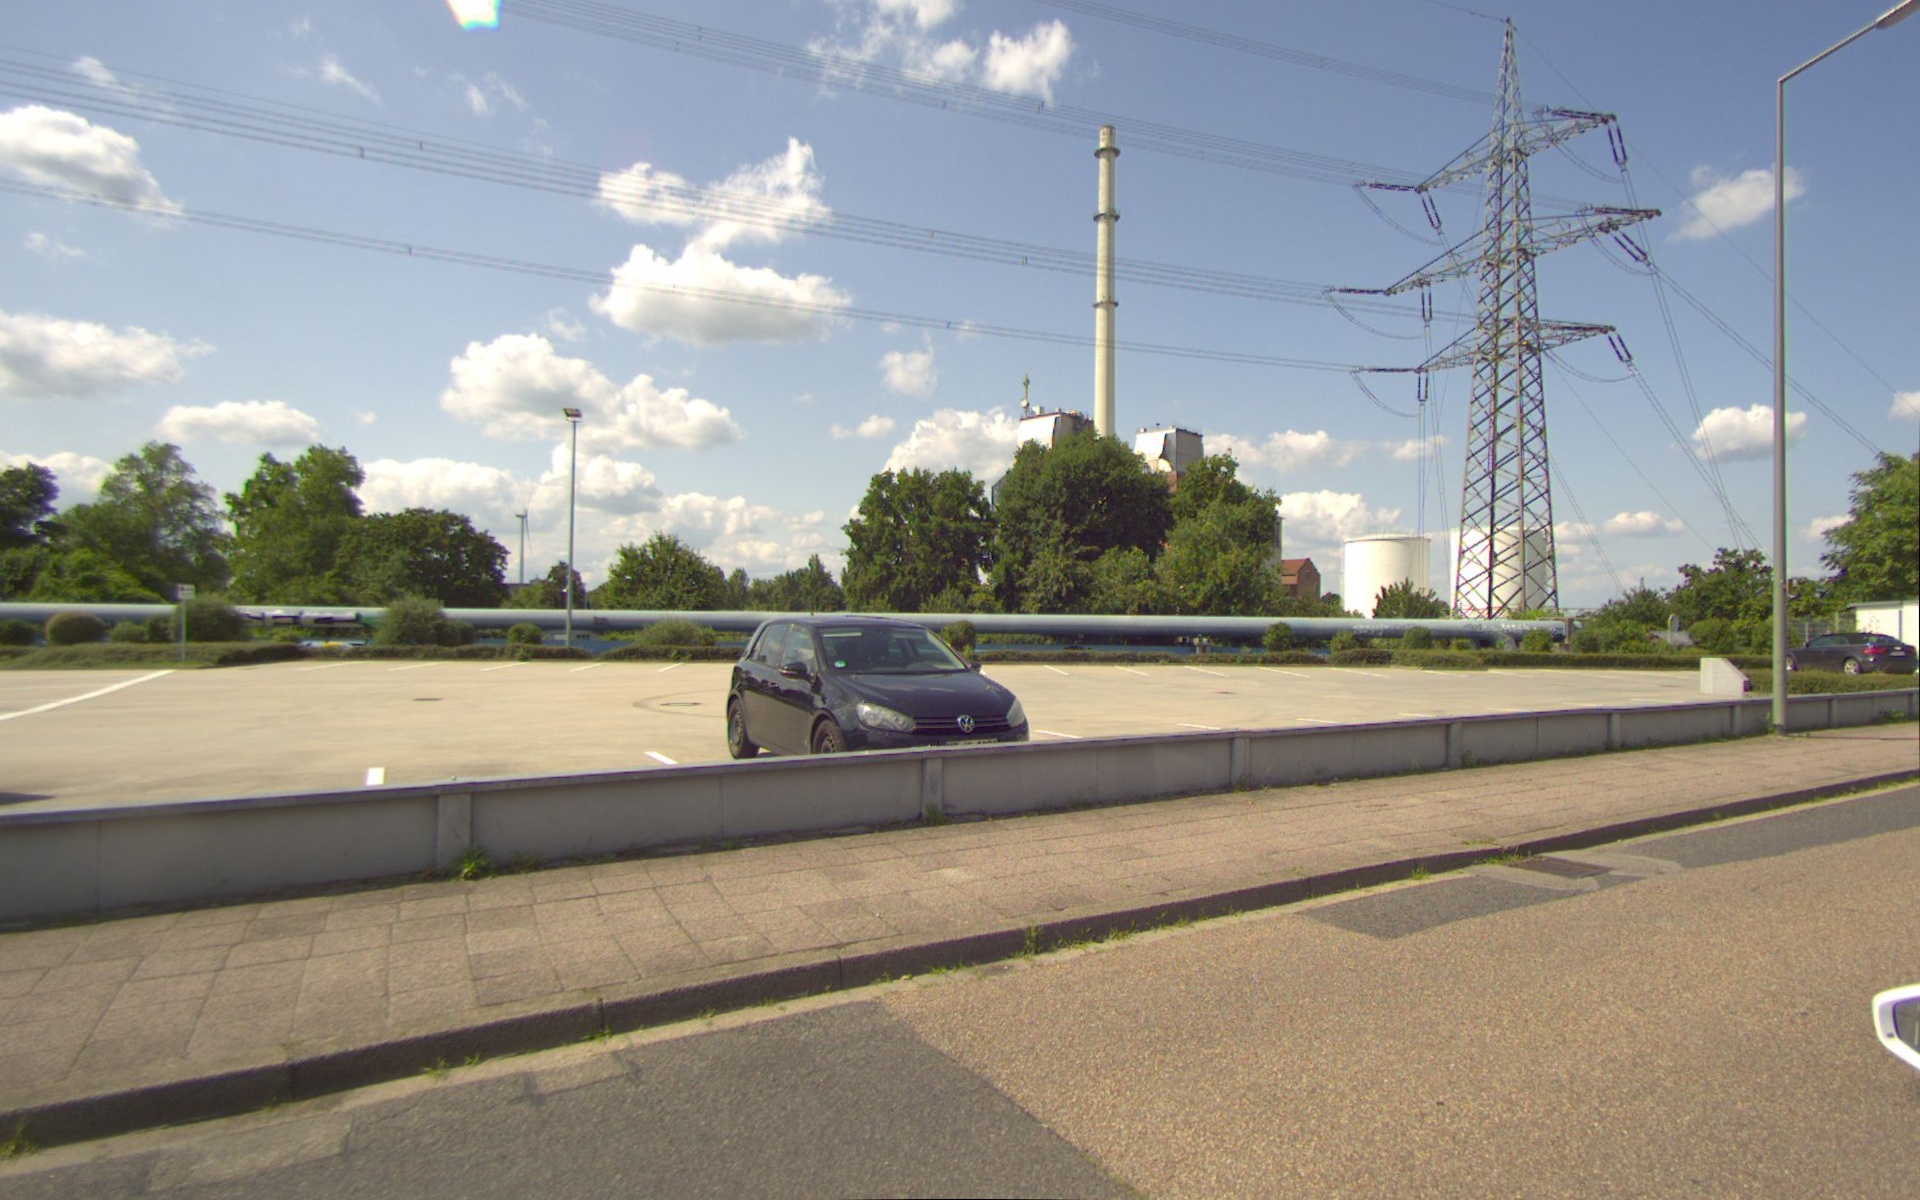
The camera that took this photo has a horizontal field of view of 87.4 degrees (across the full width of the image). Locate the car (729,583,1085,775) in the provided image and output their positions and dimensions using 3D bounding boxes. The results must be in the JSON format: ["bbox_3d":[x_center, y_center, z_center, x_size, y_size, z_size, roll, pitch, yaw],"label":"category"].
[{"bbox_3d":[-0.727,0.616,9.463,1.782,1.394,3.969,1,-1,-29],"label":"car"}]

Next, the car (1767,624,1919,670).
[{"bbox_3d":[28.740,1.484,32.793,1.767,1.396,4.002,1,-1,4],"label":"car"}]
